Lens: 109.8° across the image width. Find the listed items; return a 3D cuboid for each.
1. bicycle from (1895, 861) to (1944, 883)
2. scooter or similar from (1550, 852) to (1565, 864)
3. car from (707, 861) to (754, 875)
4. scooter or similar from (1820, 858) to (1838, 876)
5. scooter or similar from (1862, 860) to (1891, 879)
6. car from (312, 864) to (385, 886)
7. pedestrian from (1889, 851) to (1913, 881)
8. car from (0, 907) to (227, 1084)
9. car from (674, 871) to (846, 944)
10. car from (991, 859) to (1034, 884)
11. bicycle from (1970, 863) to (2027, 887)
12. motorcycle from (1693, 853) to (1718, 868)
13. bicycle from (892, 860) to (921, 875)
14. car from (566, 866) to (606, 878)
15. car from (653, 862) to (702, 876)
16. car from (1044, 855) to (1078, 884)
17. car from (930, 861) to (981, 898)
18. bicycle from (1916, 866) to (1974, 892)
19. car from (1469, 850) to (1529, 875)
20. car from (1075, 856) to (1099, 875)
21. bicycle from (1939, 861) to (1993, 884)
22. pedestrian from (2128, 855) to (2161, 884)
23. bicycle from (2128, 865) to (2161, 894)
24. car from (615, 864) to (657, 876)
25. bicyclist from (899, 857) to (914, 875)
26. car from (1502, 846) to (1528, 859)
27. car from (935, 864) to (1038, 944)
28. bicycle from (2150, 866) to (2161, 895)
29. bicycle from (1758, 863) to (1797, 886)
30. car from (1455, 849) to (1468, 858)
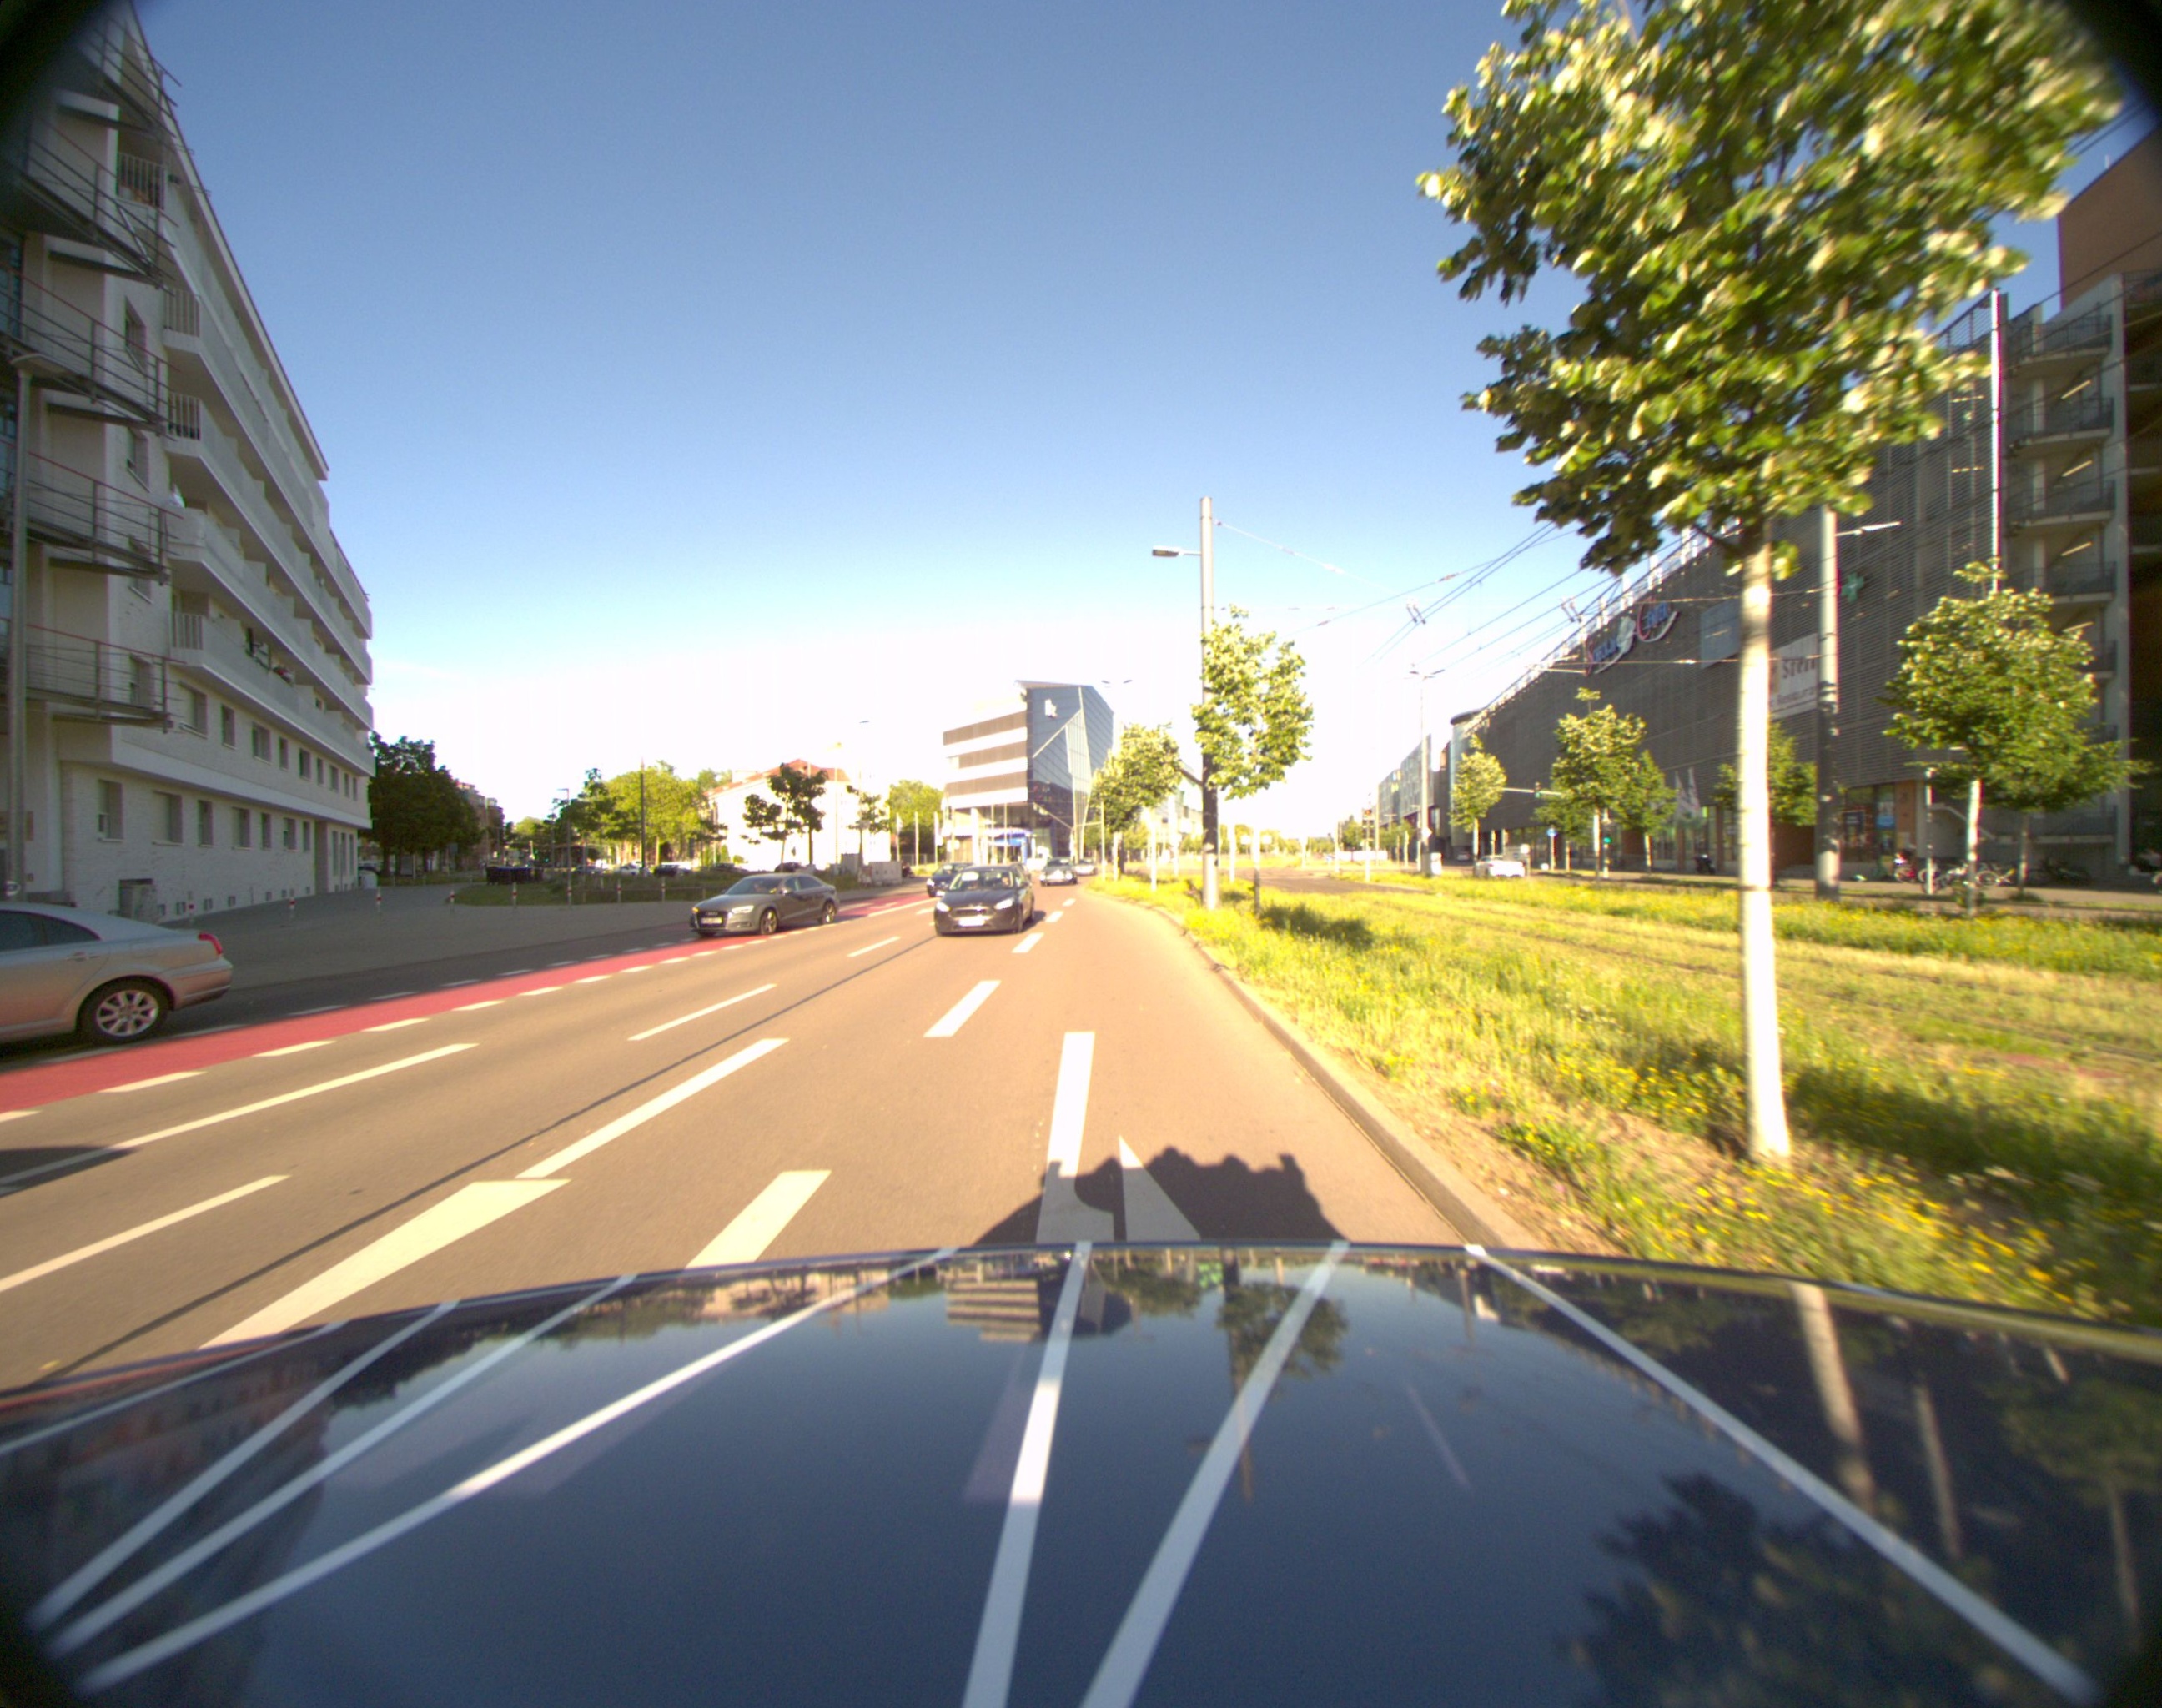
[{"bbox_3d":[35.775,0.763,32.429,1.398,0.921,0.462,-1,1,16],"label":"bicycle"},{"bbox_3d":[39.417,0.326,62.876,0.436,1.036,1.363,-2,1,4],"label":"scooter or similar"},{"bbox_3d":[-35.702,1.427,77.368,3.991,1.414,2.003,-1,1,19],"label":"car"},{"bbox_3d":[38.449,0.660,39.062,0.290,0.888,0.902,-1,1,16],"label":"scooter or similar"},{"bbox_3d":[37.032,0.709,35.358,0.291,0.888,0.899,-1,1,-37],"label":"scooter or similar"},{"bbox_3d":[-62.788,1.758,65.229,1.997,1.707,4.003,-1,0,12],"label":"car"},{"bbox_3d":[36.534,0.527,33.840,0.448,1.282,0.630,-1,1,12],"label":"pedestrian"},{"bbox_3d":[-10.363,1.309,6.060,1.754,1.423,4.491,-1,0,7],"label":"car"},{"bbox_3d":[-7.651,1.215,18.598,1.712,1.433,4.115,-1,0,14],"label":"car"},{"bbox_3d":[-4.106,1.041,46.112,1.437,1.437,4.004,0,0,12],"label":"car"},{"bbox_3d":[35.677,0.807,29.563,1.398,0.921,0.462,-1,1,16],"label":"bicycle"},{"bbox_3d":[40.209,0.397,48.917,0.428,0.914,2.027,-1,0,15],"label":"motorcycle"},{"bbox_3d":[-15.892,1.248,69.180,2.368,1.304,0.952,-1,1,12],"label":"bicycle"},{"bbox_3d":[-56.474,2.041,86.699,3.990,1.368,1.938,-1,1,26],"label":"car"},{"bbox_3d":[-42.486,1.563,79.964,4.515,1.414,2.003,-1,1,21],"label":"car"},{"bbox_3d":[-1.066,0.796,41.943,1.749,1.496,3.880,-1,0,0],"label":"car"},{"bbox_3d":[-5.482,1.071,33.660,1.736,1.437,3.999,-1,0,-3],"label":"car"},{"bbox_3d":[30.936,0.891,27.242,0.386,0.863,1.773,-1,0,12],"label":"bicycle"},{"bbox_3d":[23.674,0.443,43.228,1.809,1.320,4.409,0,1,12],"label":"car"},{"bbox_3d":[0.536,0.901,63.055,1.619,1.421,3.769,-2,0,6],"label":"car"},{"bbox_3d":[36.059,0.746,30.975,1.398,0.921,0.462,-1,1,16],"label":"bicycle"},{"bbox_3d":[39.003,0.581,27.833,0.629,1.048,0.450,-1,1,12],"label":"pedestrian"},{"bbox_3d":[35.220,0.821,24.520,1.768,0.921,0.491,-1,1,16],"label":"bicycle"},{"bbox_3d":[-48.592,1.722,82.925,3.990,1.237,2.003,-1,0,25],"label":"car"},{"bbox_3d":[-15.907,1.090,69.195,1.006,1.598,0.880,-1,1,13],"label":"bicyclist"},{"bbox_3d":[51.678,-0.211,90.479,1.582,1.521,3.753,-2,1,12],"label":"car"},{"bbox_3d":[-1.997,1.019,17.175,1.690,1.425,4.153,-3,0,1],"label":"car"},{"bbox_3d":[35.087,0.830,23.905,1.768,0.921,0.491,-1,1,16],"label":"bicycle"},{"bbox_3d":[29.750,0.850,32.499,0.386,0.918,1.773,-1,0,12],"label":"bicycle"},{"bbox_3d":[58.976,-0.128,117.771,1.688,1.364,3.596,-1,0,25],"label":"car"}]
